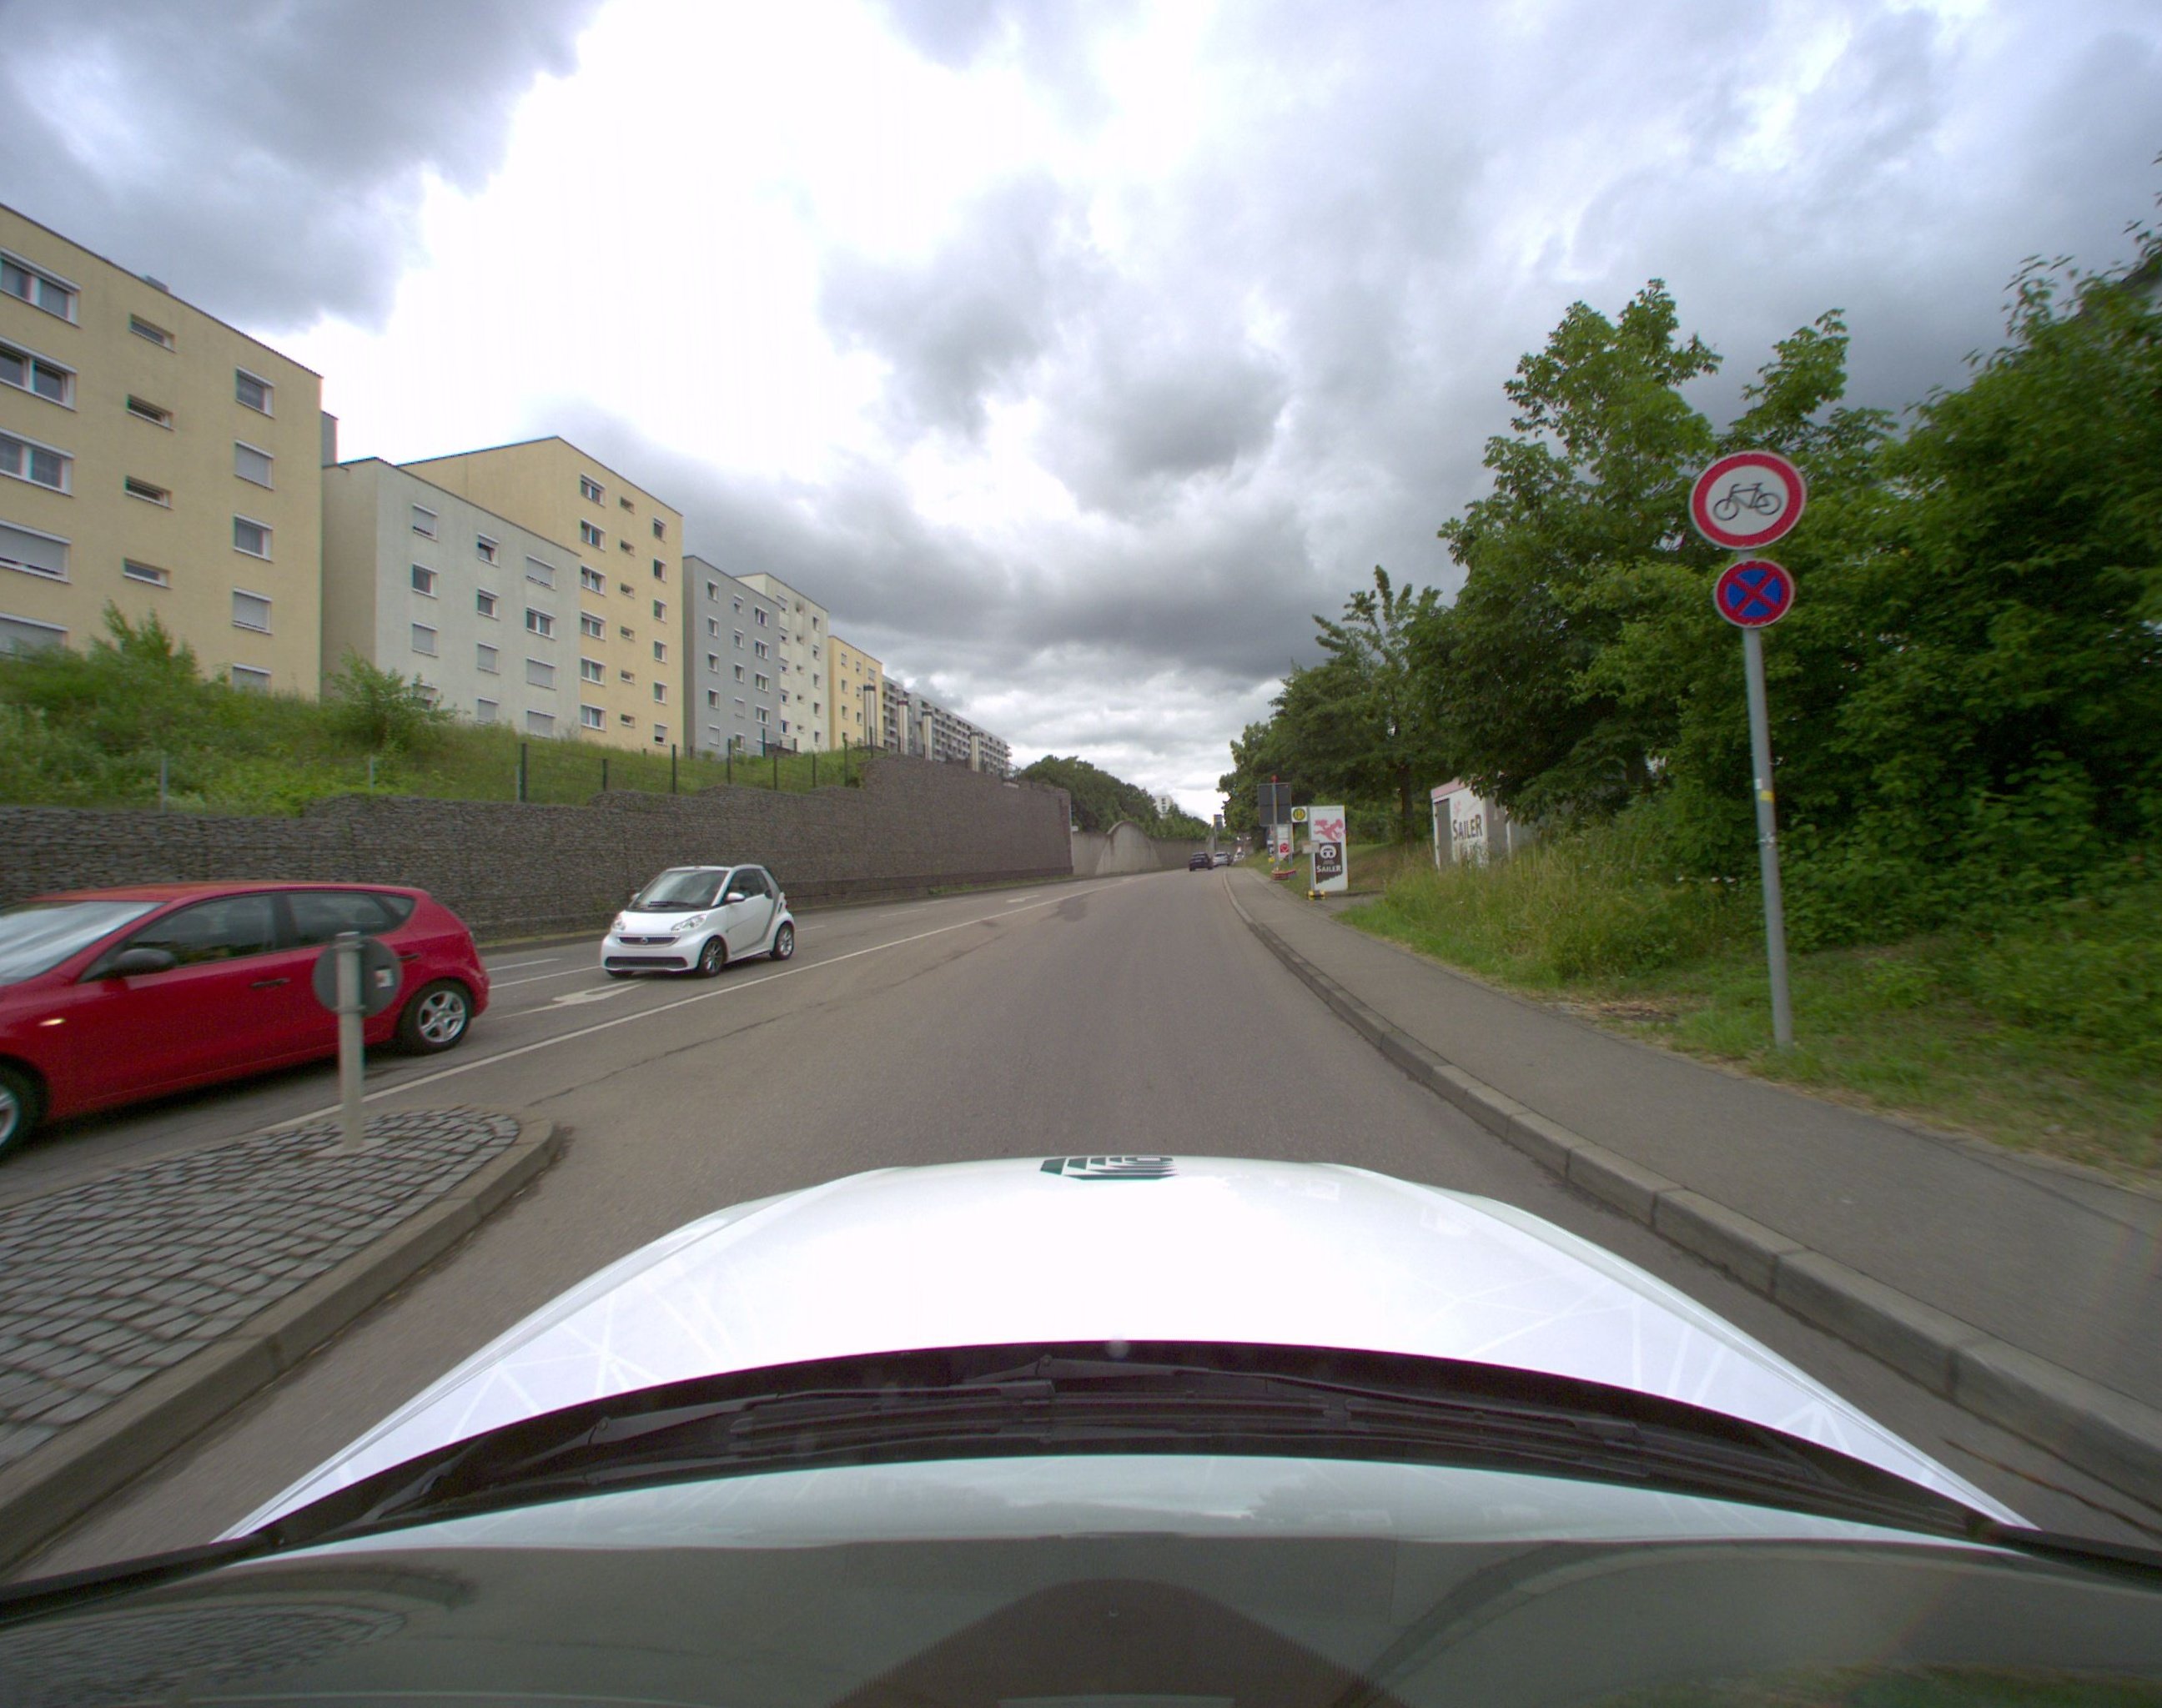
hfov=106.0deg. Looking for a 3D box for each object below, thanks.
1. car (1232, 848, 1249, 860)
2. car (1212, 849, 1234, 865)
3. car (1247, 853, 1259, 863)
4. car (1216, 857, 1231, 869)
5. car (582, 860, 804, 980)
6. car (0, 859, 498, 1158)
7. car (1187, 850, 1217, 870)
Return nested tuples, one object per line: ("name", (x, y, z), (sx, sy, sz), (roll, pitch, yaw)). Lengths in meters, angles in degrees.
("car", (21.470, 0.026, 109.584), (1.853, 1.490, 4.273), (-1, -1, 15))
("car", (14.612, 0.370, 83.868), (1.741, 1.523, 4.053), (-1, -2, 16))
("car", (27.831, 0.627, 131.645), (1.741, 1.534, 4.271), (-1, -2, 15))
("car", (21.347, 1.366, 122.163), (1.848, 1.632, 4.224), (-4, -1, 14))
("car", (-5.526, 0.864, 11.966), (1.534, 1.523, 2.921), (-1, 0, 9))
("car", (-6.343, 0.824, 5.349), (1.745, 1.523, 4.101), (-1, 0, 7))
("car", (10.126, 0.521, 67.947), (1.740, 1.523, 4.055), (-1, -2, 18))
